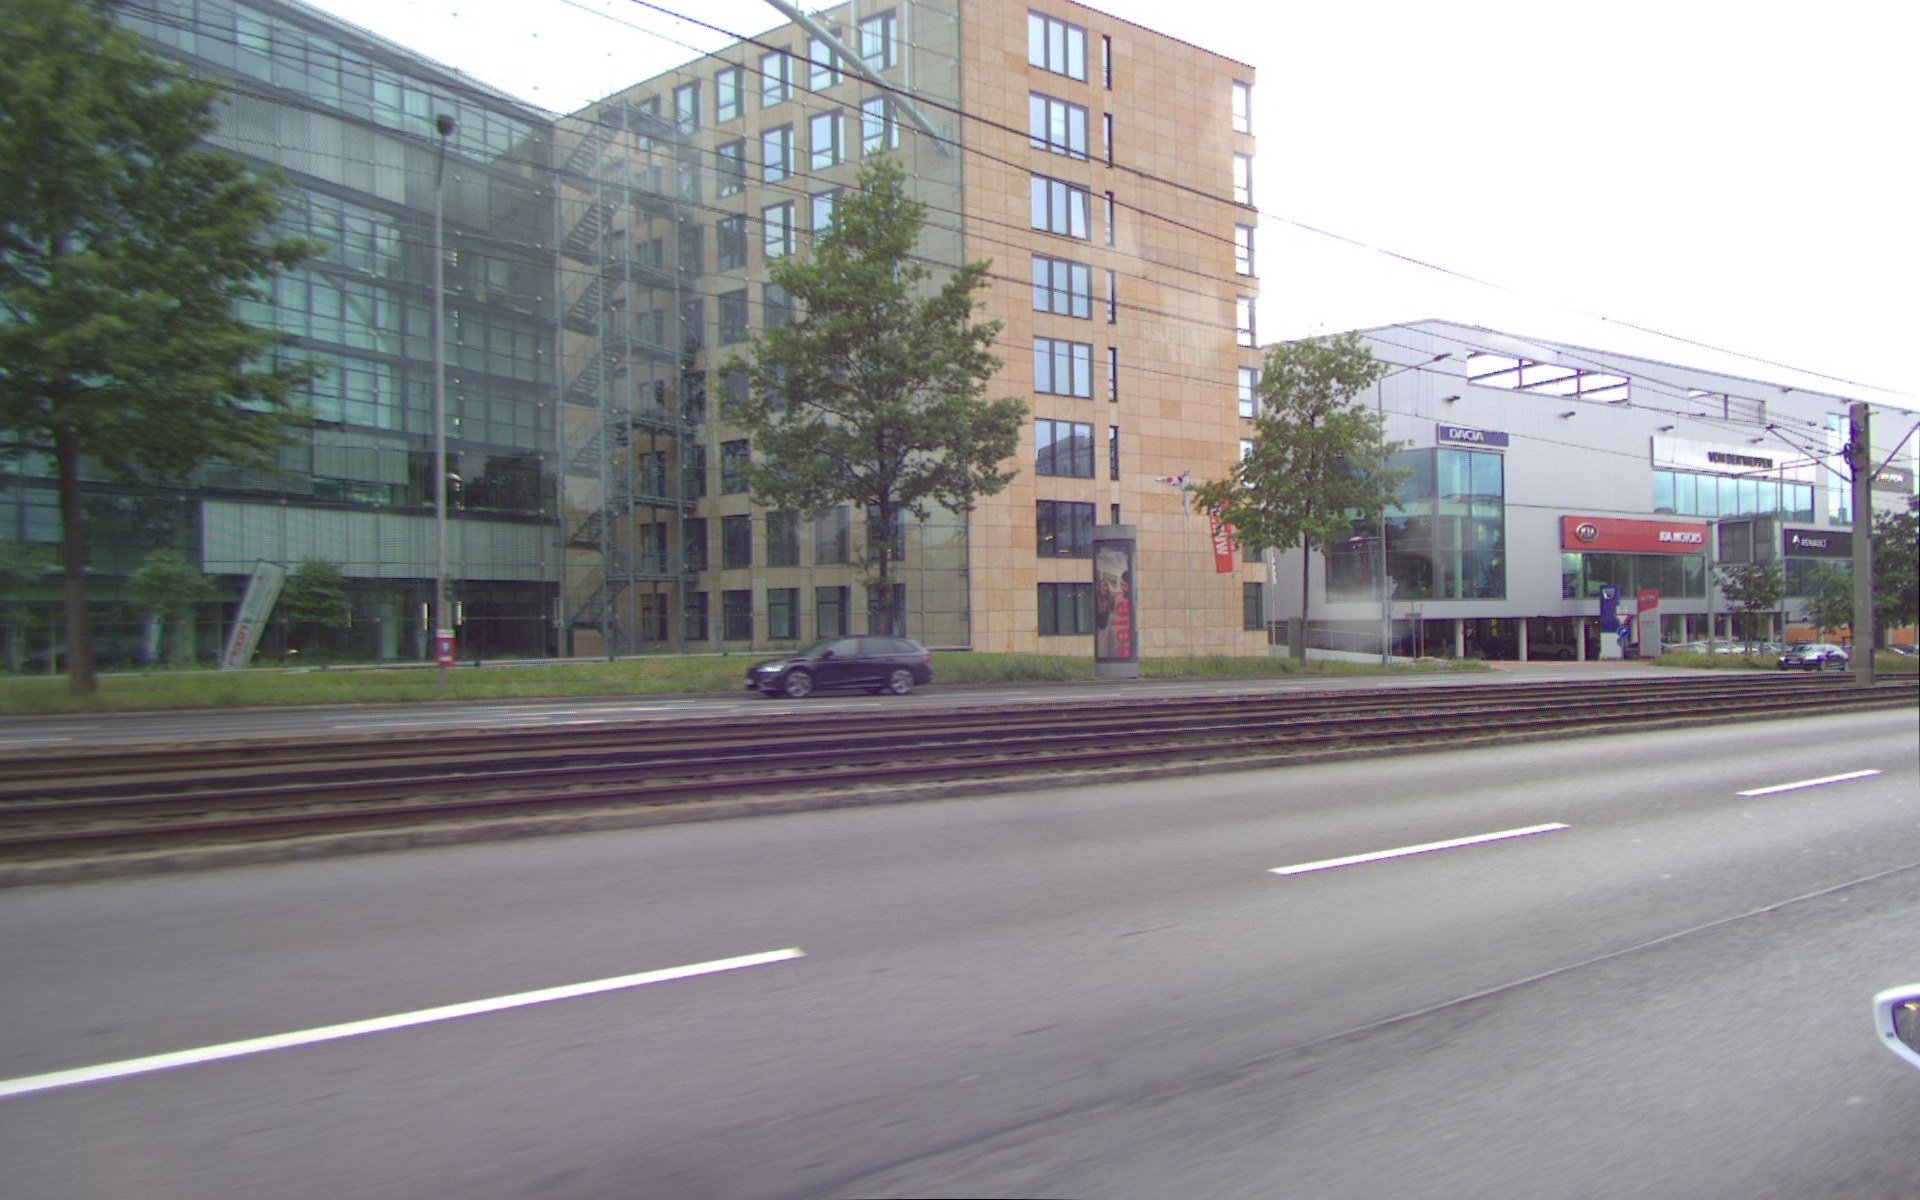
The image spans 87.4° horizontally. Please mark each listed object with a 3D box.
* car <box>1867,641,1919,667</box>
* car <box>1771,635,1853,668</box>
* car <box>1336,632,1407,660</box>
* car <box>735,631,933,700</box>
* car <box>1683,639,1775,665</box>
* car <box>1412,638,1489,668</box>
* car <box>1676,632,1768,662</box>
[{"bbox_3d":[75.583,4.289,80.019,1.998,2.002,4.578,3,-3,-31],"label":"car"},{"bbox_3d":[42.621,2.591,50.230,4.185,1.481,1.661,3,-1,-28],"label":"car"},{"bbox_3d":[27.980,3.148,68.292,4.885,1.815,1.983,2,-1,-32],"label":"car"},{"bbox_3d":[-3.018,1.564,24.199,4.378,1.505,1.833,1,-5,-30],"label":"car"},{"bbox_3d":[53.691,3.618,70.188,4.951,1.675,2.008,-1,-3,45],"label":"car"},{"bbox_3d":[31.158,3.363,63.820,4.881,1.748,1.984,2,-1,-30],"label":"car"},{"bbox_3d":[49.664,3.063,65.507,4.575,1.851,2.008,-1,-3,45],"label":"car"}]
